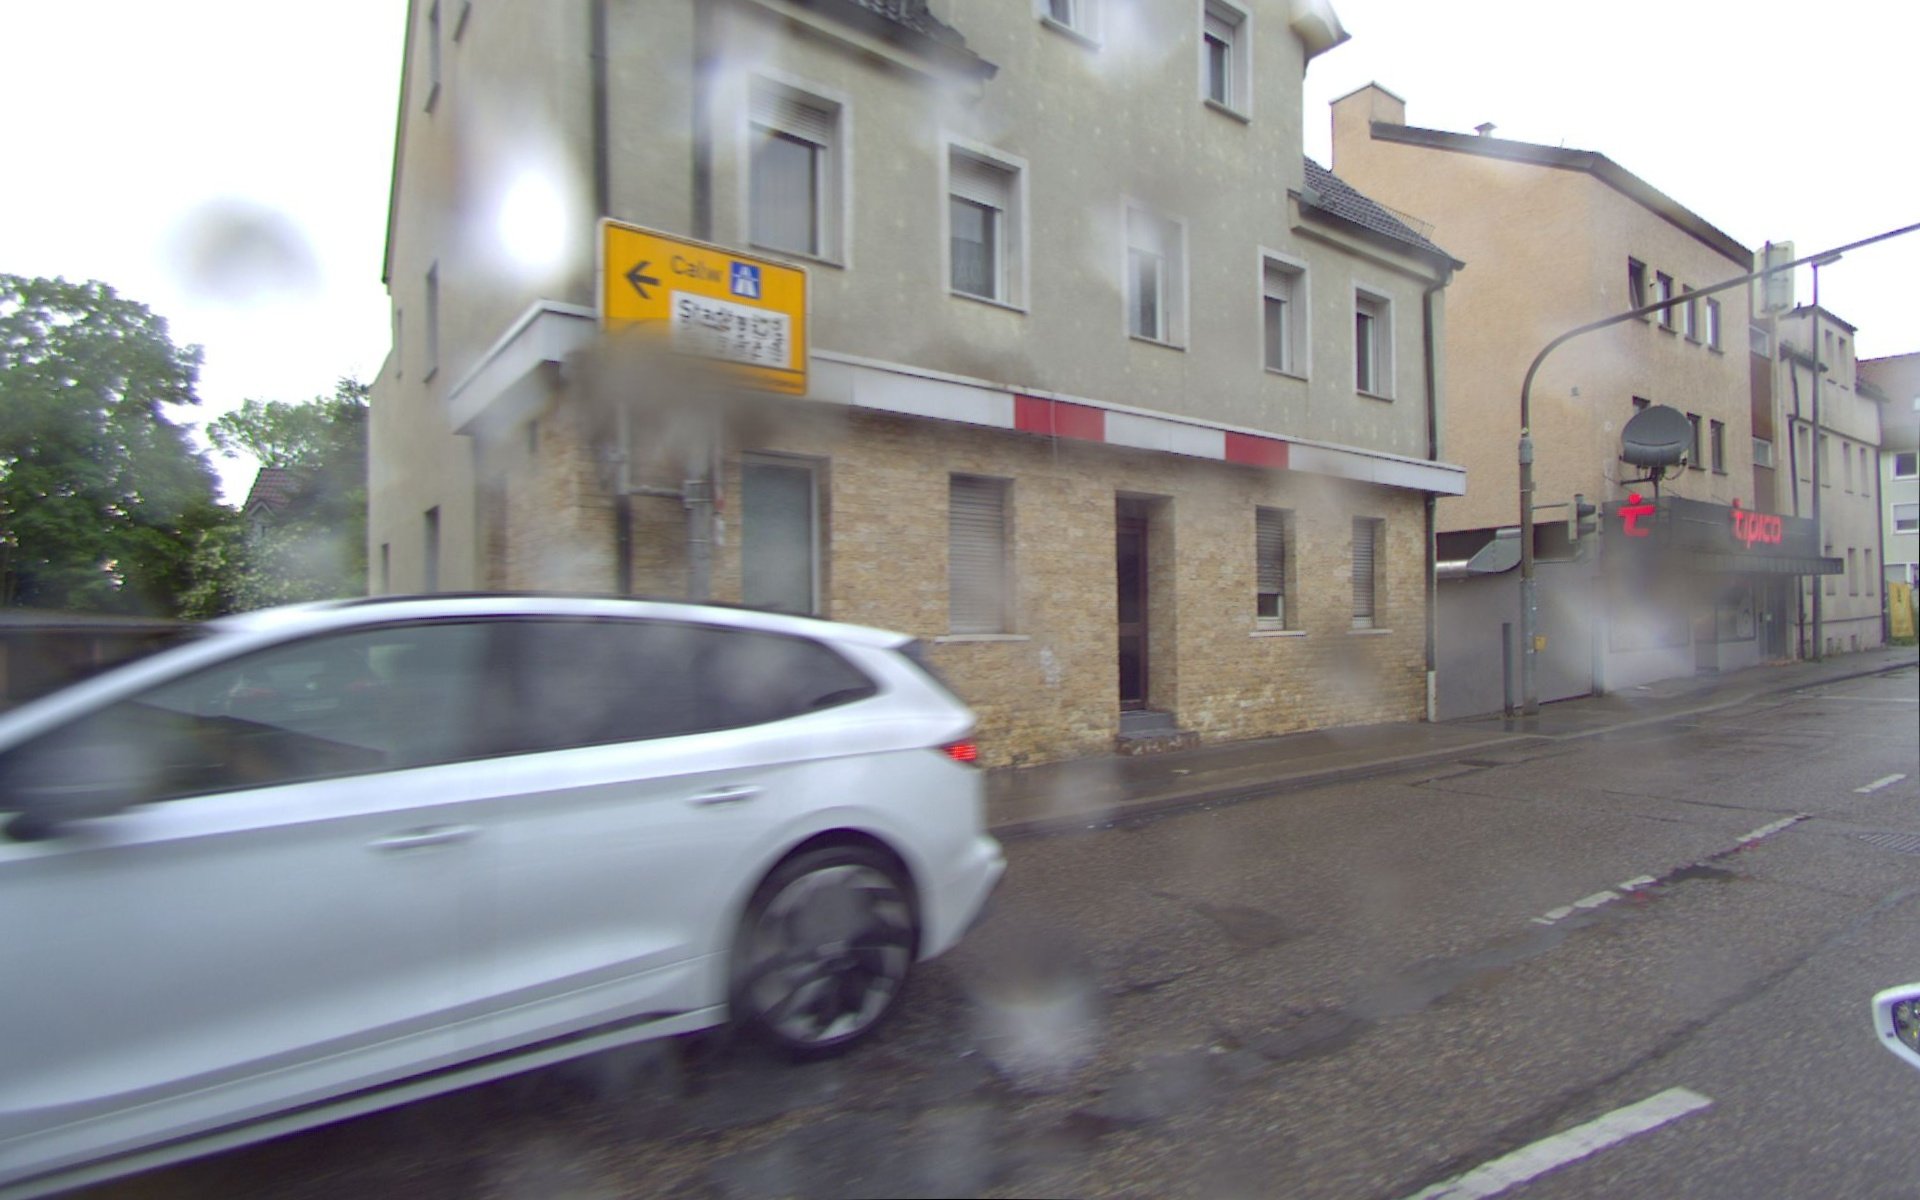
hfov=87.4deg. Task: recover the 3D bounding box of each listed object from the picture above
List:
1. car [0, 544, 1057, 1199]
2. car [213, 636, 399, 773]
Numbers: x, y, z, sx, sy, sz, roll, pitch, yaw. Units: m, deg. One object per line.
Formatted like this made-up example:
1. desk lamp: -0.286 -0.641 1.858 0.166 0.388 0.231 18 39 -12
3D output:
1. car: -1.849 0.694 3.447 4.297 1.581 1.771 0 -1 -38
2. car: -8.804 1.364 13.373 1.788 1.468 3.960 -1 -4 -37
